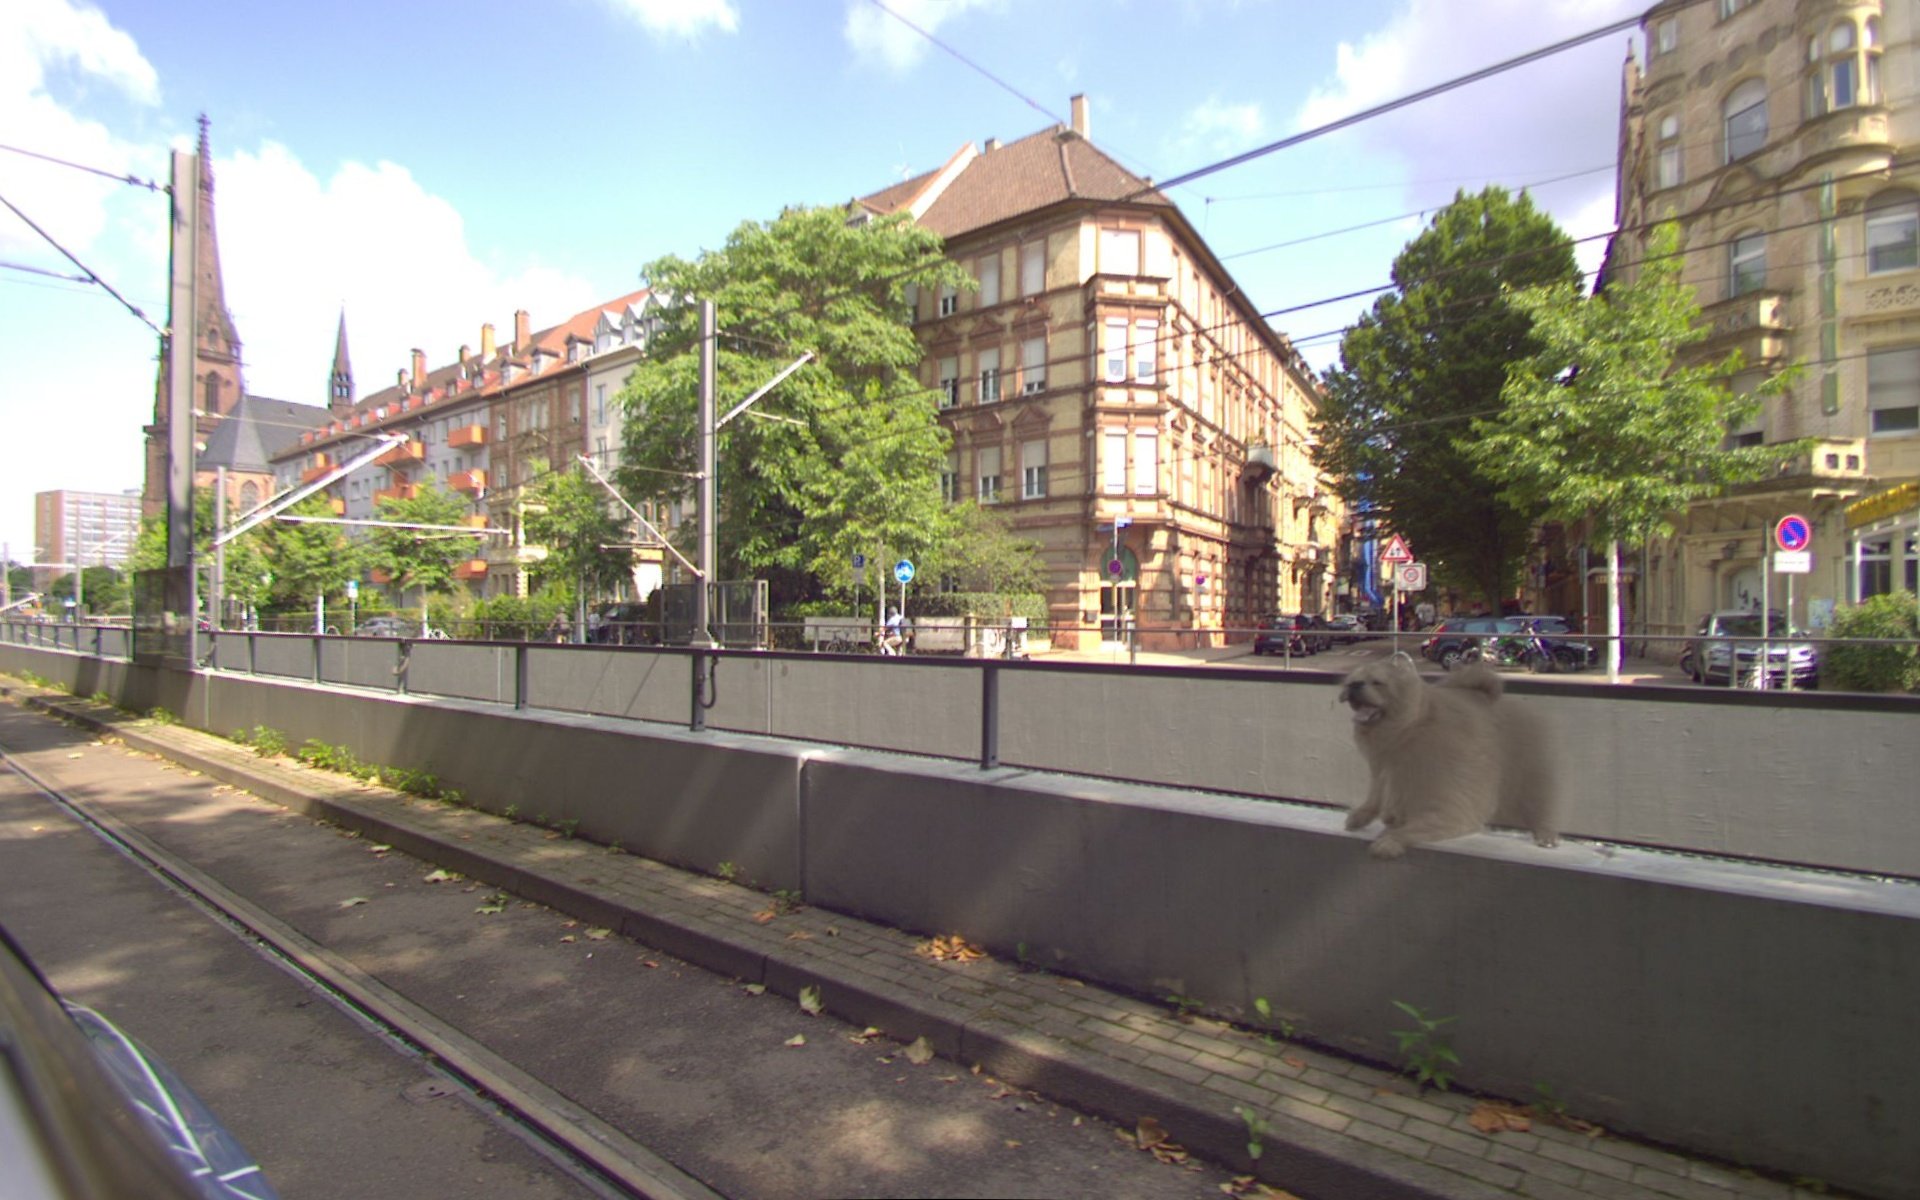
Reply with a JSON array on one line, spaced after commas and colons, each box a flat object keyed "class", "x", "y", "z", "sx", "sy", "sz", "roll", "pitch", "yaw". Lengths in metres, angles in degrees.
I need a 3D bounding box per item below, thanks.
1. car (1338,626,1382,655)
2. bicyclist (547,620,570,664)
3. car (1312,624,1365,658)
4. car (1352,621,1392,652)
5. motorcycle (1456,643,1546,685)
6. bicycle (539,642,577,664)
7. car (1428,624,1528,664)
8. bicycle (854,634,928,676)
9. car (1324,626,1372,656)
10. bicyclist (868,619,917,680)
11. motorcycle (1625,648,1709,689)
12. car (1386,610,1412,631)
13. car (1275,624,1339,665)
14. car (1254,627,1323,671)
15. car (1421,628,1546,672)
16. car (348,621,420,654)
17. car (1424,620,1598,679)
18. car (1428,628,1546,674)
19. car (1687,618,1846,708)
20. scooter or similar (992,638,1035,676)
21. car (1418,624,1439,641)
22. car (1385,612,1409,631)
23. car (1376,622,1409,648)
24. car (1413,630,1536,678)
[{"class": "car", "x": 23.945, "y": 2.415, "z": 60.572, "sx": 1.920, "sy": 1.630, "sz": 3.959, "roll": -1, "pitch": -2, "yaw": 30}, {"class": "bicyclist", "x": -14.526, "y": 1.520, "z": 36.617, "sx": 0.607, "sy": 1.556, "sz": 0.498, "roll": -1, "pitch": -2, "yaw": 40}, {"class": "car", "x": 19.362, "y": 2.069, "z": 51.712, "sx": 1.920, "sy": 1.630, "sz": 3.959, "roll": -1, "pitch": -2, "yaw": 30}, {"class": "car", "x": 26.776, "y": 2.376, "z": 65.713, "sx": 1.920, "sy": 1.956, "sz": 3.959, "roll": -1, "pitch": -2, "yaw": 30}, {"class": "motorcycle", "x": 13.694, "y": 1.618, "z": 25.645, "sx": 1.992, "sy": 1.002, "sz": 0.518, "roll": -1, "pitch": -2, "yaw": 29}, {"class": "bicycle", "x": -14.554, "y": 1.913, "z": 36.601, "sx": 1.815, "sy": 0.774, "sz": 0.491, "roll": -1, "pitch": -2, "yaw": 41}, {"class": "car", "x": 23.155, "y": 1.918, "z": 45.264, "sx": 3.770, "sy": 1.714, "sz": 1.663, "roll": -1, "pitch": -2, "yaw": 37}, {"class": "bicycle", "x": -1.740, "y": 1.374, "z": 25.456, "sx": 1.897, "sy": 1.003, "sz": 0.718, "roll": -1, "pitch": -4, "yaw": 40}, {"class": "car", "x": 21.709, "y": 2.270, "z": 56.535, "sx": 1.920, "sy": 1.630, "sz": 3.959, "roll": -1, "pitch": -2, "yaw": 30}, {"class": "bicyclist", "x": -1.704, "y": 1.241, "z": 25.447, "sx": 0.977, "sy": 1.490, "sz": 0.731, "roll": -1, "pitch": -4, "yaw": 40}, {"class": "motorcycle", "x": 16.991, "y": 1.629, "z": 24.348, "sx": 0.485, "sy": 0.930, "sz": 1.597, "roll": 1, "pitch": -2, "yaw": -31}, {"class": "car", "x": 42.281, "y": 1.985, "z": 97.437, "sx": 1.920, "sy": 1.956, "sz": 3.959, "roll": -1, "pitch": -2, "yaw": 30}, {"class": "car", "x": 15.107, "y": 1.890, "z": 43.955, "sx": 1.920, "sy": 1.687, "sz": 3.959, "roll": -1, "pitch": -2, "yaw": 30}, {"class": "car", "x": 12.564, "y": 1.822, "z": 38.580, "sx": 1.916, "sy": 1.547, "sz": 3.963, "roll": 0, "pitch": -1, "yaw": 27}, {"class": "car", "x": 19.457, "y": 1.870, "z": 37.642, "sx": 3.985, "sy": 1.507, "sz": 1.979, "roll": -3, "pitch": -3, "yaw": 31}, {"class": "car", "x": -29.969, "y": 1.933, "z": 52.621, "sx": 4.111, "sy": 1.650, "sz": 1.973, "roll": -1, "pitch": -2, "yaw": 41}, {"class": "car", "x": 15.192, "y": 1.321, "z": 28.093, "sx": 4.119, "sy": 1.532, "sz": 1.667, "roll": -1, "pitch": -2, "yaw": 28}, {"class": "car", "x": 18.028, "y": 1.713, "z": 34.712, "sx": 3.500, "sy": 1.497, "sz": 1.667, "roll": -1, "pitch": -2, "yaw": 29}, {"class": "car", "x": 16.149, "y": 1.180, "z": 20.482, "sx": 2.030, "sy": 1.618, "sz": 3.920, "roll": -1, "pitch": -1, "yaw": 32}, {"class": "scooter or similar", "x": 1.600, "y": 1.709, "z": 30.338, "sx": 1.287, "sy": 1.090, "sz": 0.373, "roll": -1, "pitch": 0, "yaw": 41}, {"class": "car", "x": 55.581, "y": 3.824, "z": 120.128, "sx": 1.920, "sy": 1.956, "sz": 3.959, "roll": -1, "pitch": -2, "yaw": 30}, {"class": "car", "x": 45.681, "y": 2.221, "z": 105.793, "sx": 1.920, "sy": 1.956, "sz": 3.959, "roll": -1, "pitch": -2, "yaw": 30}, {"class": "car", "x": 32.403, "y": 2.606, "z": 75.793, "sx": 1.919, "sy": 1.846, "sz": 3.962, "roll": -1, "pitch": -2, "yaw": 28}, {"class": "car", "x": 16.749, "y": 1.730, "z": 33.101, "sx": 3.497, "sy": 1.503, "sz": 1.668, "roll": -1, "pitch": -2, "yaw": 27}]
